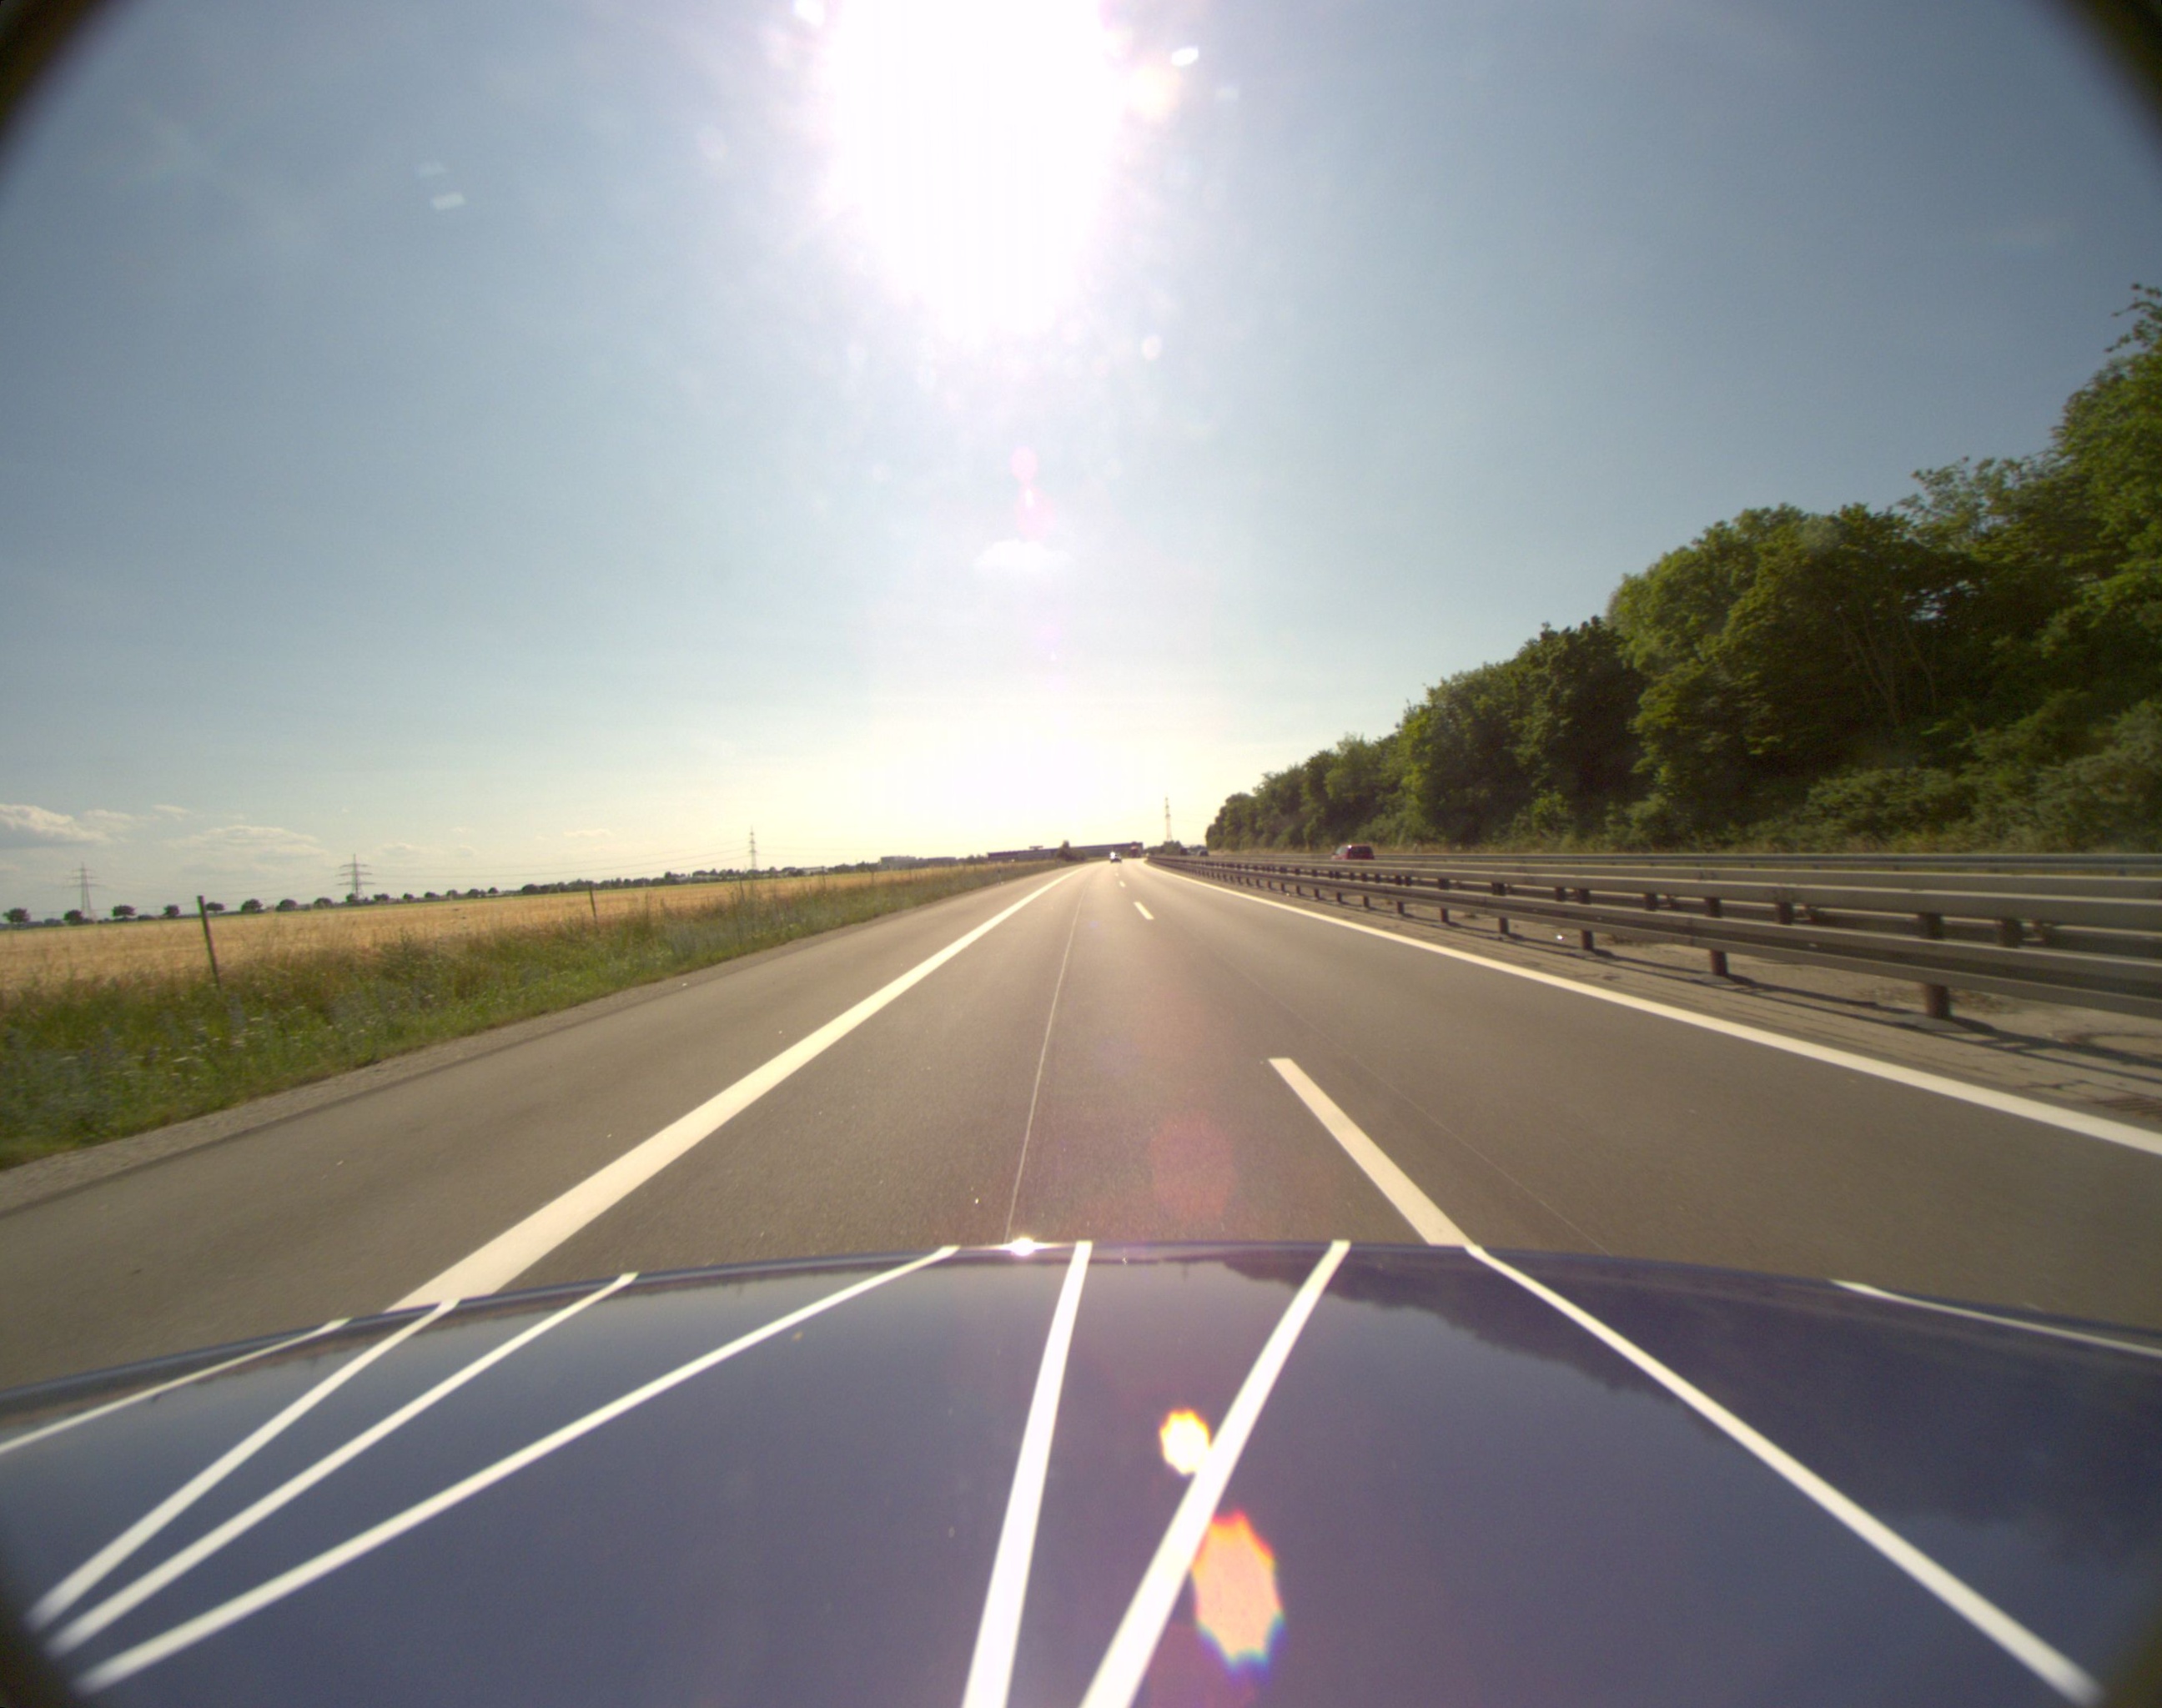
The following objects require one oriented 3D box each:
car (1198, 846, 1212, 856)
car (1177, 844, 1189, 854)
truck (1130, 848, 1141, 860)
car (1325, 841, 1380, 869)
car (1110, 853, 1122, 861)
[{"bbox_3d":[21.060,-0.455,129.330,1.815,1.546,4.850,-3,0,2],"label":"car"},{"bbox_3d":[26.402,-1.317,196.938,2.549,2.580,6.594,-3,0,4],"label":"car"},{"bbox_3d":[19.174,0.105,265.413,2.569,3.938,8.650,-5,-1,11],"label":"truck"},{"bbox_3d":[15.344,0.068,43.169,1.677,1.429,4.142,-3,0,1],"label":"car"},{"bbox_3d":[5.978,0.483,129.600,1.860,1.361,4.000,-3,0,3],"label":"car"}]
